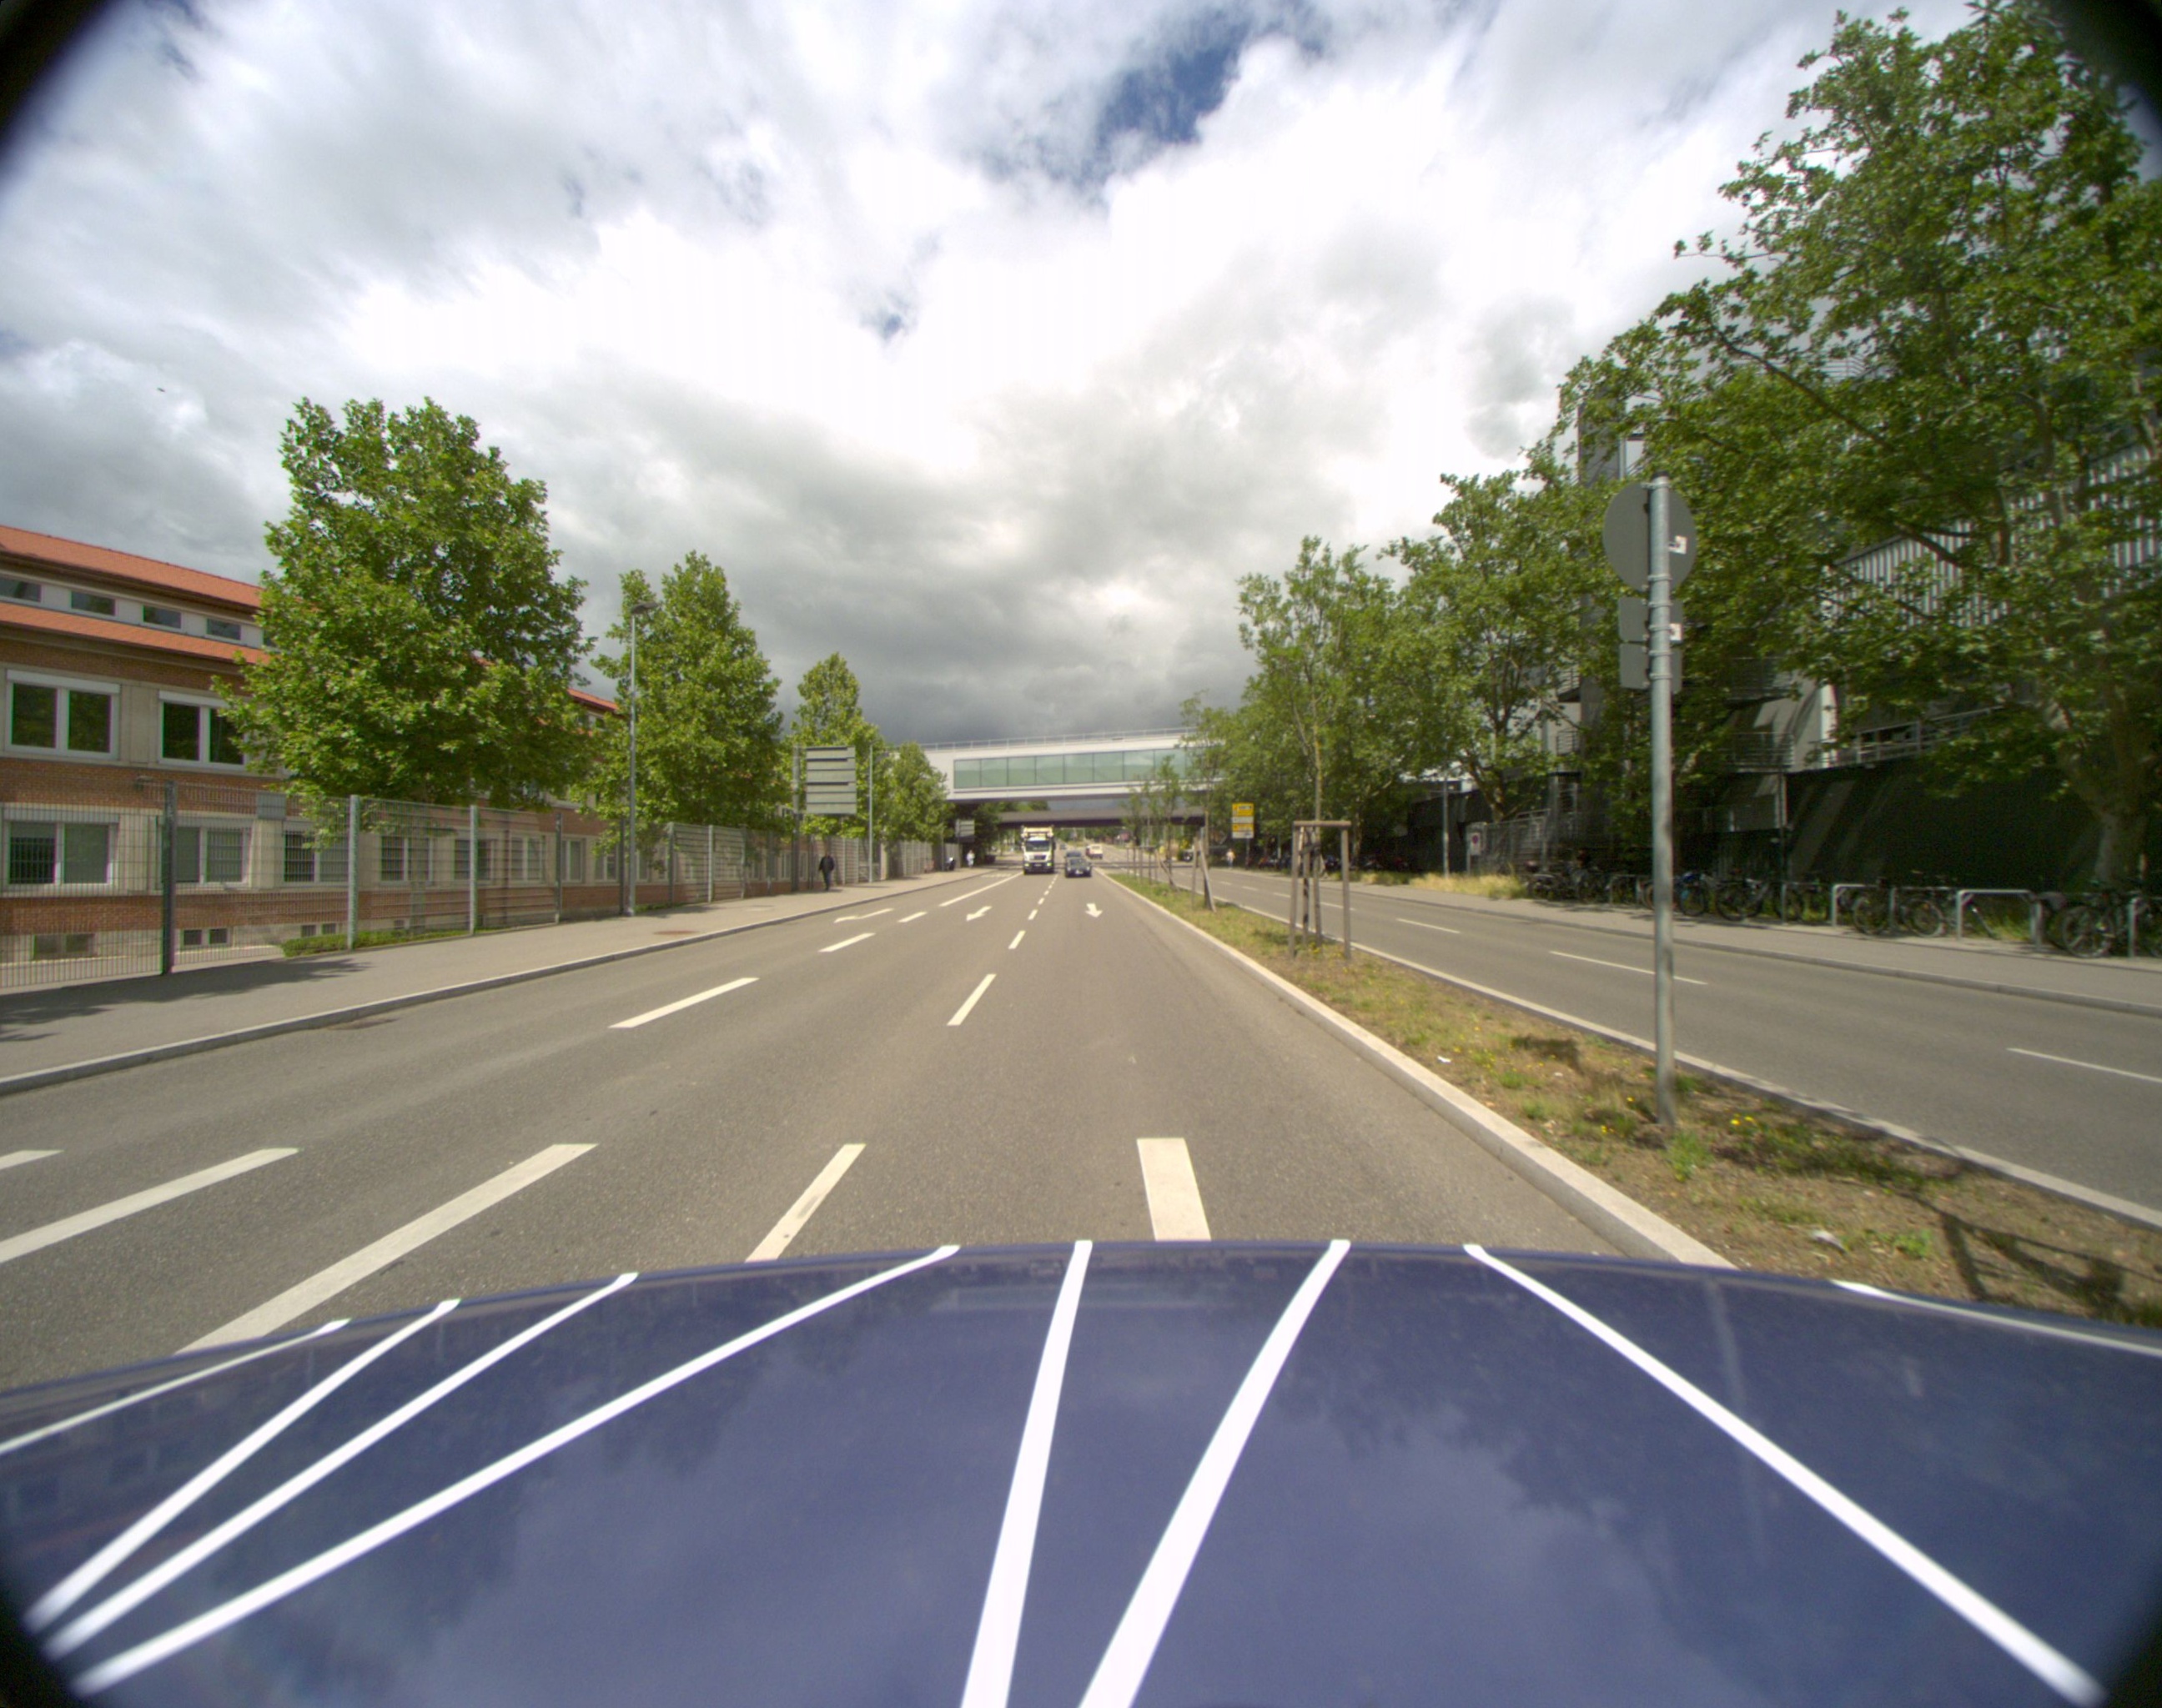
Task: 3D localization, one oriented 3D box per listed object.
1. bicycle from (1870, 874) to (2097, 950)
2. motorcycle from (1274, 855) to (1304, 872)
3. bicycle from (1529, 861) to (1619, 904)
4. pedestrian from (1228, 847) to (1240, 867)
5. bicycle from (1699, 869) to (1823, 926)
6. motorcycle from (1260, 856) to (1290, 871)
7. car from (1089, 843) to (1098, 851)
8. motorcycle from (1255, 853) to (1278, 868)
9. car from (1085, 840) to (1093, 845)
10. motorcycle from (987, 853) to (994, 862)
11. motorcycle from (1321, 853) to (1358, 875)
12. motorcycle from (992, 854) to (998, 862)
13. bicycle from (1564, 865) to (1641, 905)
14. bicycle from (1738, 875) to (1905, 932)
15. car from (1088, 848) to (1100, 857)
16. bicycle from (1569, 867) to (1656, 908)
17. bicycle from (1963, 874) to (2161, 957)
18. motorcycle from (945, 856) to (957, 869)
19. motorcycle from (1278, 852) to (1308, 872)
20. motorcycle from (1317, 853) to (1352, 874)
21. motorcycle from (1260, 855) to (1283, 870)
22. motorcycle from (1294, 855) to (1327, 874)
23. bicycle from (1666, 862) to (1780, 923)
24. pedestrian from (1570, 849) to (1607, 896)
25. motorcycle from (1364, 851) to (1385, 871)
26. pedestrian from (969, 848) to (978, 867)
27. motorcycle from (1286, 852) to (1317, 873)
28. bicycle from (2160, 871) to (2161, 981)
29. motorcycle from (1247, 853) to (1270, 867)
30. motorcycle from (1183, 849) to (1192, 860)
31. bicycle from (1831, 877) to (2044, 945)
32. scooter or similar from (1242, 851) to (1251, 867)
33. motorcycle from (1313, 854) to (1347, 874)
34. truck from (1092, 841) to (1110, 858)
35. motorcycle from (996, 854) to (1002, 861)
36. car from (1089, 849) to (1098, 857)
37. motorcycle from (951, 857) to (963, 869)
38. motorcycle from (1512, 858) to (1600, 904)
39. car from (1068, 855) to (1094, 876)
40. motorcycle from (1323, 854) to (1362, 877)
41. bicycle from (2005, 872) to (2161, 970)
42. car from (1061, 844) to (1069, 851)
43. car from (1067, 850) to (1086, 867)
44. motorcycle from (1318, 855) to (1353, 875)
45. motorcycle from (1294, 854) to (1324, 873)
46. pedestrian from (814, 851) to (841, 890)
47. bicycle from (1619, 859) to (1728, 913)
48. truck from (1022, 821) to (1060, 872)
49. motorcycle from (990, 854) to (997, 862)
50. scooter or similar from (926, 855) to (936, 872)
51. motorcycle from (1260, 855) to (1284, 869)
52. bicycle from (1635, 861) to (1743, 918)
[{"bbox_3d":[14.593,0.935,12.355,2.569,1.151,0.644,-1,1,10],"label":"bicycle"},{"bbox_3d":[15.256,0.680,55.722,1.933,1.109,0.923,-3,-1,27],"label":"motorcycle"},{"bbox_3d":[14.408,0.831,22.236,2.139,1.173,0.806,-1,1,-2],"label":"bicycle"},{"bbox_3d":[12.741,0.258,63.357,0.769,1.603,0.813,-3,1,-1],"label":"pedestrian"},{"bbox_3d":[14.340,0.898,16.060,1.923,1.116,0.806,-1,1,-2],"label":"bicycle"},{"bbox_3d":[14.684,0.722,57.461,1.939,1.109,0.920,1,1,-12],"label":"motorcycle"},{"bbox_3d":[2.686,-1.561,163.931,1.813,1.770,4.977,-1,1,-1],"label":"car"},{"bbox_3d":[15.219,0.522,62.329,1.596,1.116,0.775,-3,-1,-9],"label":"motorcycle"},{"bbox_3d":[2.166,-3.116,207.121,1.998,1.346,4.000,0,1,1],"label":"car"},{"bbox_3d":[-12.198,0.514,101.982,0.679,1.148,2.112,0,1,0],"label":"motorcycle"},{"bbox_3d":[15.087,0.601,44.342,1.881,1.179,0.730,-3,0,8],"label":"motorcycle"},{"bbox_3d":[-12.113,0.588,106.873,0.679,1.076,2.037,0,1,-2],"label":"motorcycle"},{"bbox_3d":[14.746,0.877,21.492,1.929,1.068,0.422,-1,1,-2],"label":"bicycle"},{"bbox_3d":[14.772,0.965,15.172,2.844,1.000,0.850,-1,1,-9],"label":"bicycle"},{"bbox_3d":[2.355,-0.243,141.620,1.910,1.621,4.291,-1,0,-4],"label":"car"},{"bbox_3d":[14.694,0.913,21.023,2.086,1.056,0.497,-1,1,-2],"label":"bicycle"},{"bbox_3d":[14.995,0.908,11.307,2.569,1.151,0.726,-1,1,10],"label":"bicycle"},{"bbox_3d":[-11.818,0.771,68.980,0.670,1.058,2.246,2,1,-1],"label":"motorcycle"},{"bbox_3d":[15.160,0.575,54.239,1.934,1.283,0.894,-3,-1,20],"label":"motorcycle"},{"bbox_3d":[15.614,0.603,46.765,1.882,1.202,0.655,-3,-1,3],"label":"motorcycle"},{"bbox_3d":[15.255,0.656,60.996,1.595,1.116,0.776,-3,-1,1],"label":"motorcycle"},{"bbox_3d":[14.844,0.681,49.215,1.881,1.172,0.815,-3,-1,9],"label":"motorcycle"},{"bbox_3d":[14.378,0.841,17.049,1.923,1.275,0.806,-1,1,-2],"label":"bicycle"},{"bbox_3d":[17.049,0.607,25.540,0.755,1.543,0.821,-1,1,10],"label":"pedestrian"},{"bbox_3d":[18.668,0.464,48.382,0.654,1.202,1.984,-3,-1,4],"label":"motorcycle"},{"bbox_3d":[-10.941,0.330,77.426,0.791,1.877,1.097,0,1,-1],"label":"pedestrian"},{"bbox_3d":[15.081,0.587,51.894,1.934,1.336,0.866,-3,-1,20],"label":"motorcycle"},{"bbox_3d":[14.314,0.863,9.045,2.172,1.356,0.490,-1,1,2],"label":"bicycle"},{"bbox_3d":[14.992,0.517,64.294,1.745,1.164,0.777,-3,-1,8],"label":"motorcycle"},{"bbox_3d":[12.816,0.056,91.541,0.641,1.191,2.257,-3,1,-1],"label":"motorcycle"},{"bbox_3d":[14.736,0.962,13.141,2.569,1.089,0.696,0,1,10],"label":"bicycle"},{"bbox_3d":[13.164,0.378,60.590,0.355,1.229,1.479,-2,2,-1],"label":"scooter or similar"},{"bbox_3d":[15.647,0.620,47.811,1.882,1.172,0.698,-3,-1,3],"label":"motorcycle"},{"bbox_3d":[3.422,-0.729,129.045,2.486,2.735,6.456,-1,0,-3],"label":"truck"},{"bbox_3d":[-11.827,0.487,109.233,0.679,1.076,2.180,0,1,-2],"label":"motorcycle"},{"bbox_3d":[2.573,-0.185,155.308,1.713,1.445,4.479,-1,0,-1],"label":"car"},{"bbox_3d":[-11.763,0.824,72.111,0.709,1.058,2.510,2,1,-1],"label":"motorcycle"},{"bbox_3d":[14.261,0.805,22.836,2.139,1.301,0.806,-1,1,-2],"label":"motorcycle"},{"bbox_3d":[-0.029,0.758,52.524,1.675,1.390,3.999,-1,0,-1],"label":"car"},{"bbox_3d":[14.596,0.655,42.446,1.881,1.166,0.746,-3,-1,9],"label":"motorcycle"},{"bbox_3d":[14.264,0.904,10.431,2.410,1.250,0.556,-1,1,2],"label":"bicycle"},{"bbox_3d":[-4.611,-1.942,218.424,1.999,2.002,3.999,-1,0,-1],"label":"car"},{"bbox_3d":[-0.516,0.443,81.401,1.929,1.728,3.999,-1,0,-1],"label":"car"},{"bbox_3d":[15.286,0.661,45.671,1.880,1.078,0.795,-3,-1,15],"label":"motorcycle"},{"bbox_3d":[15.115,0.631,50.402,1.880,1.172,0.816,-3,-1,15],"label":"motorcycle"},{"bbox_3d":[-11.429,0.724,34.334,0.879,1.733,0.940,1,1,-1],"label":"pedestrian"},{"bbox_3d":[14.907,0.789,19.162,2.139,1.275,0.806,-1,1,-2],"label":"bicycle"},{"bbox_3d":[-3.326,-0.601,65.376,2.787,3.981,10.085,-1,0,-1],"label":"truck"},{"bbox_3d":[-12.004,0.532,104.337,0.679,1.137,2.160,0,1,-2],"label":"motorcycle"},{"bbox_3d":[-12.190,0.769,61.782,0.492,1.287,1.336,0,1,-1],"label":"scooter or similar"},{"bbox_3d":[14.978,0.663,59.623,1.595,1.027,0.776,-3,-1,1],"label":"motorcycle"},{"bbox_3d":[14.346,0.819,17.956,1.923,1.275,0.806,-1,1,-2],"label":"bicycle"}]
